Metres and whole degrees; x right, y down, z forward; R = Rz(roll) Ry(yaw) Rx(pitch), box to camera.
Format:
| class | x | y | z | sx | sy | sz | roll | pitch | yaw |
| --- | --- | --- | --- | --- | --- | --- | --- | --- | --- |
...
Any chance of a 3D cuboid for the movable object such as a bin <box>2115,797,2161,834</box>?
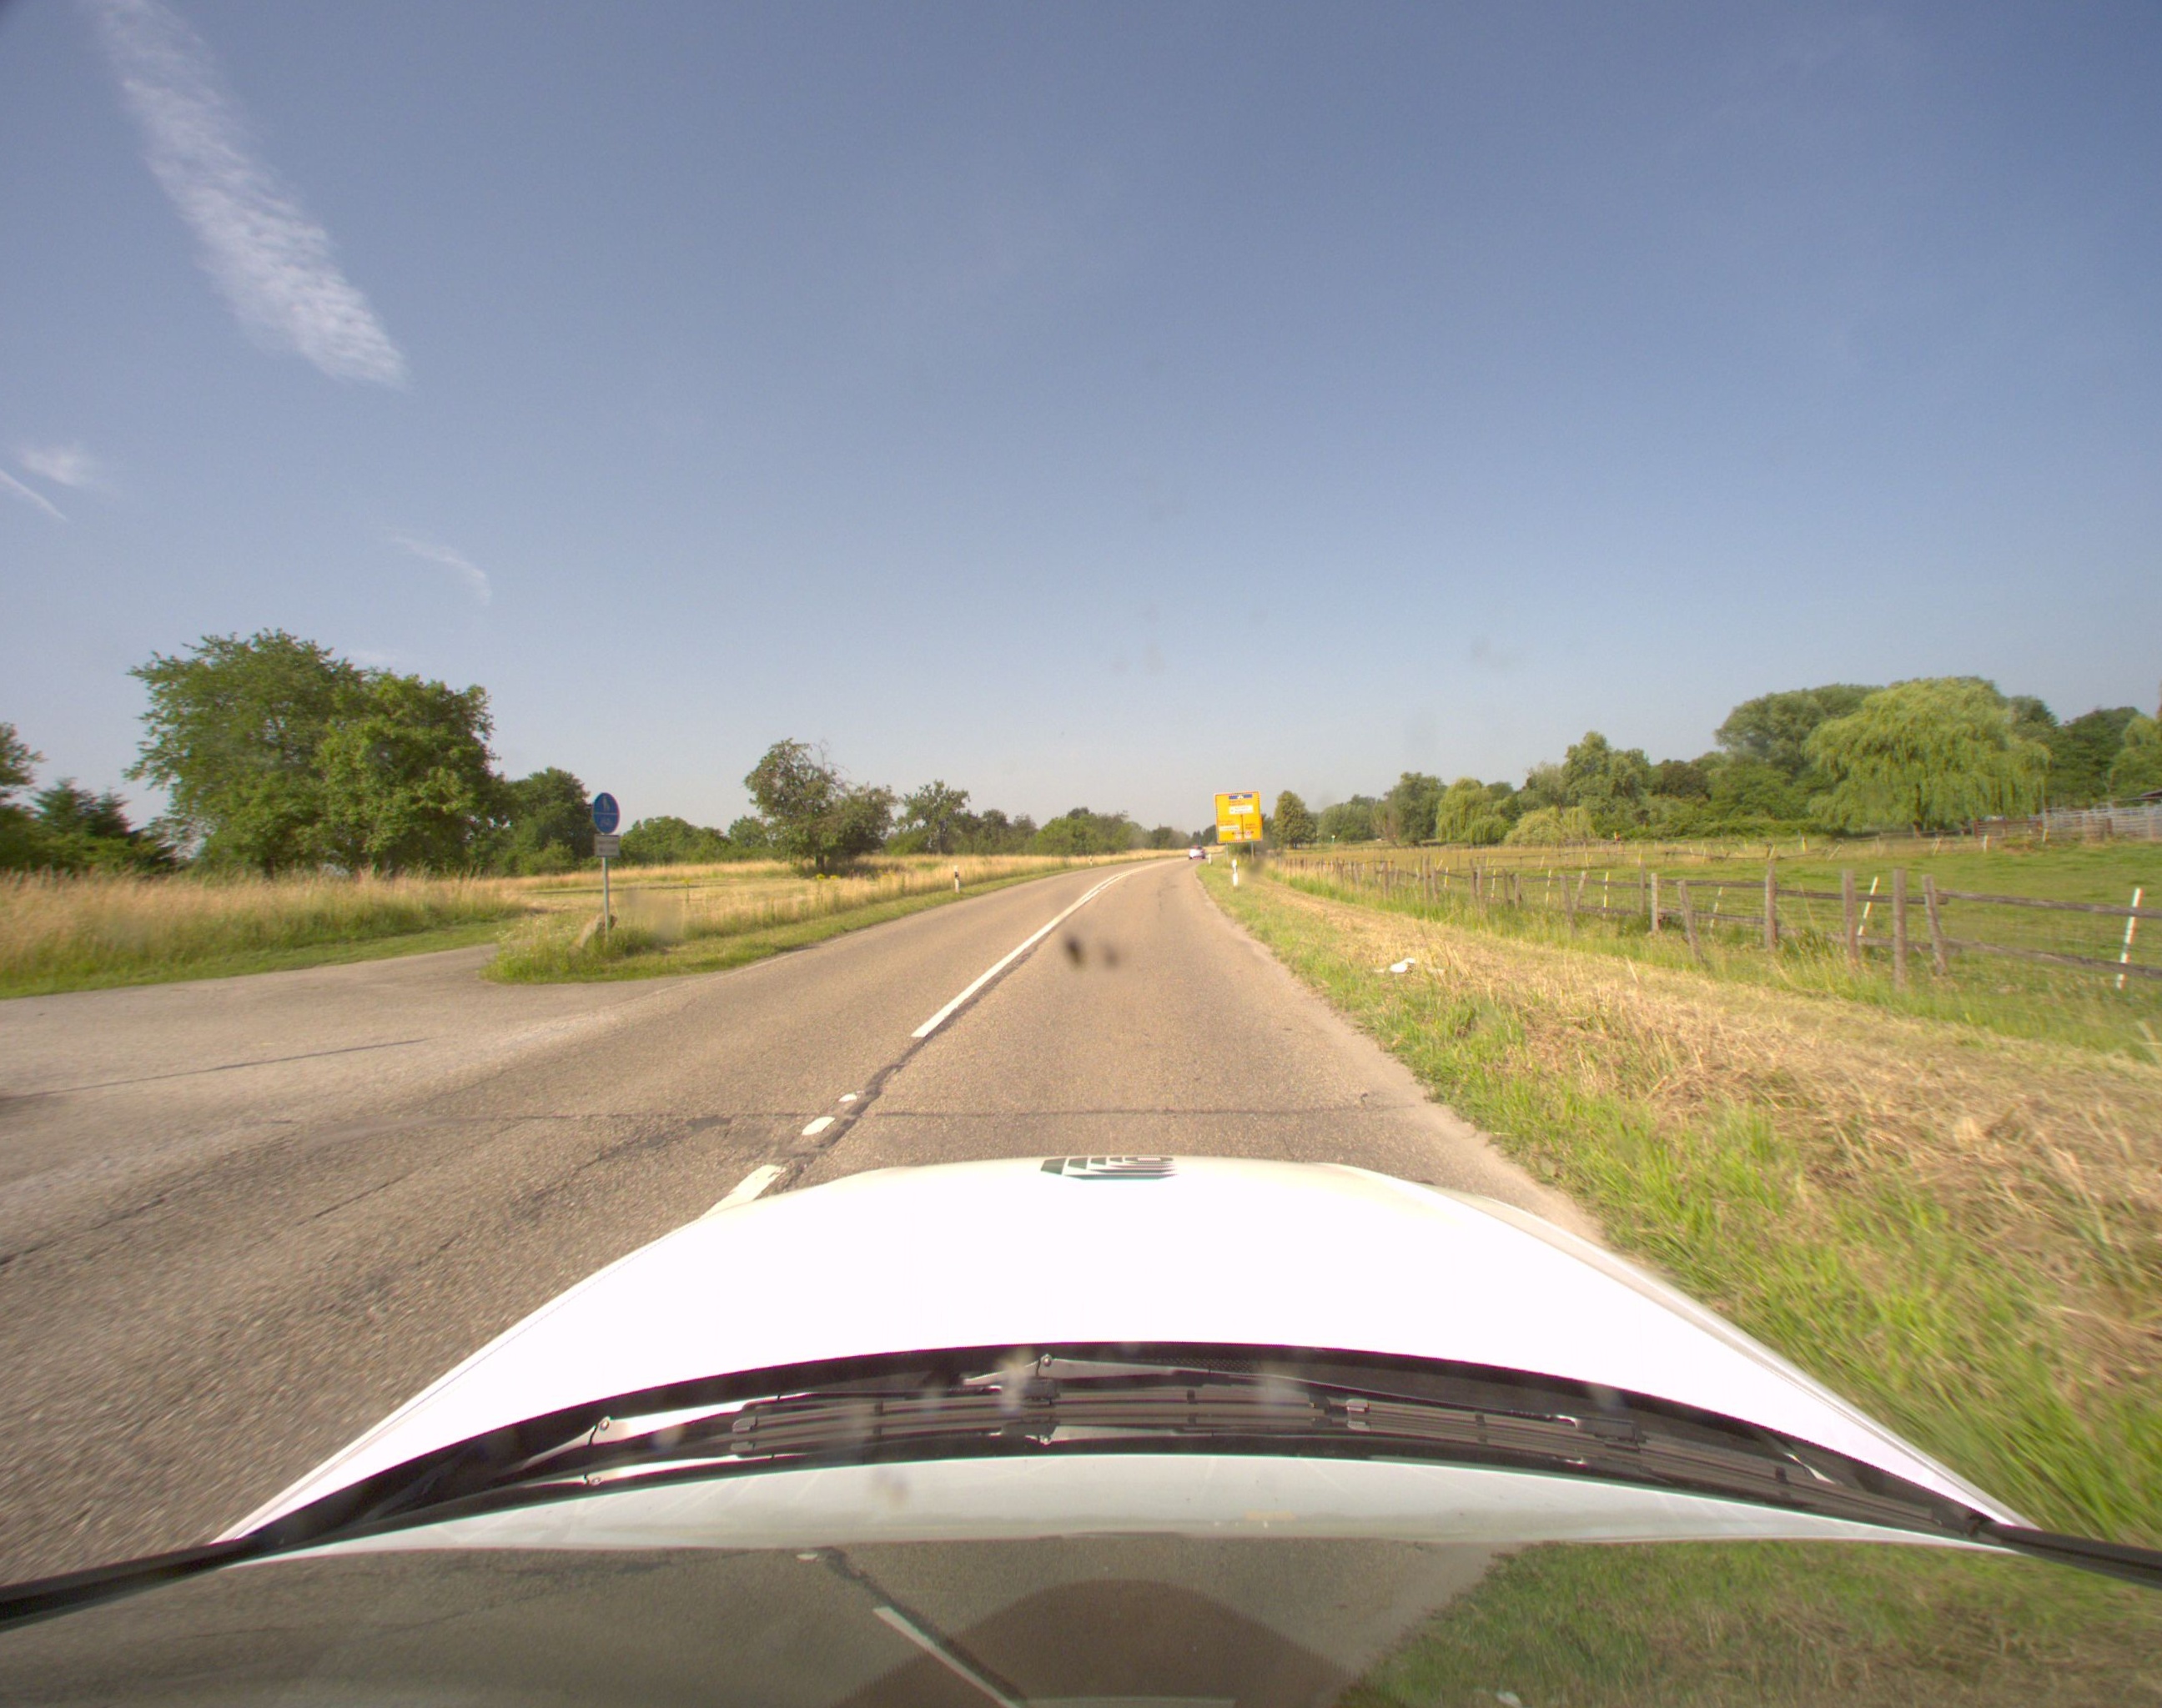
| class | x | y | z | sx | sy | sz | roll | pitch | yaw |
| --- | --- | --- | --- | --- | --- | --- | --- | --- | --- |
| movable object such as a bin | 67.369 | -2.430 | 50.304 | 1.982 | 2.193 | 4.173 | -1 | 0 | 8 |

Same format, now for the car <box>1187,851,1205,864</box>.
| class | x | y | z | sx | sy | sz | roll | pitch | yaw |
| --- | --- | --- | --- | --- | --- | --- | --- | --- | --- |
| car | 13.981 | 0.442 | 98.807 | 1.886 | 1.512 | 4.014 | -1 | 0 | 13 |
